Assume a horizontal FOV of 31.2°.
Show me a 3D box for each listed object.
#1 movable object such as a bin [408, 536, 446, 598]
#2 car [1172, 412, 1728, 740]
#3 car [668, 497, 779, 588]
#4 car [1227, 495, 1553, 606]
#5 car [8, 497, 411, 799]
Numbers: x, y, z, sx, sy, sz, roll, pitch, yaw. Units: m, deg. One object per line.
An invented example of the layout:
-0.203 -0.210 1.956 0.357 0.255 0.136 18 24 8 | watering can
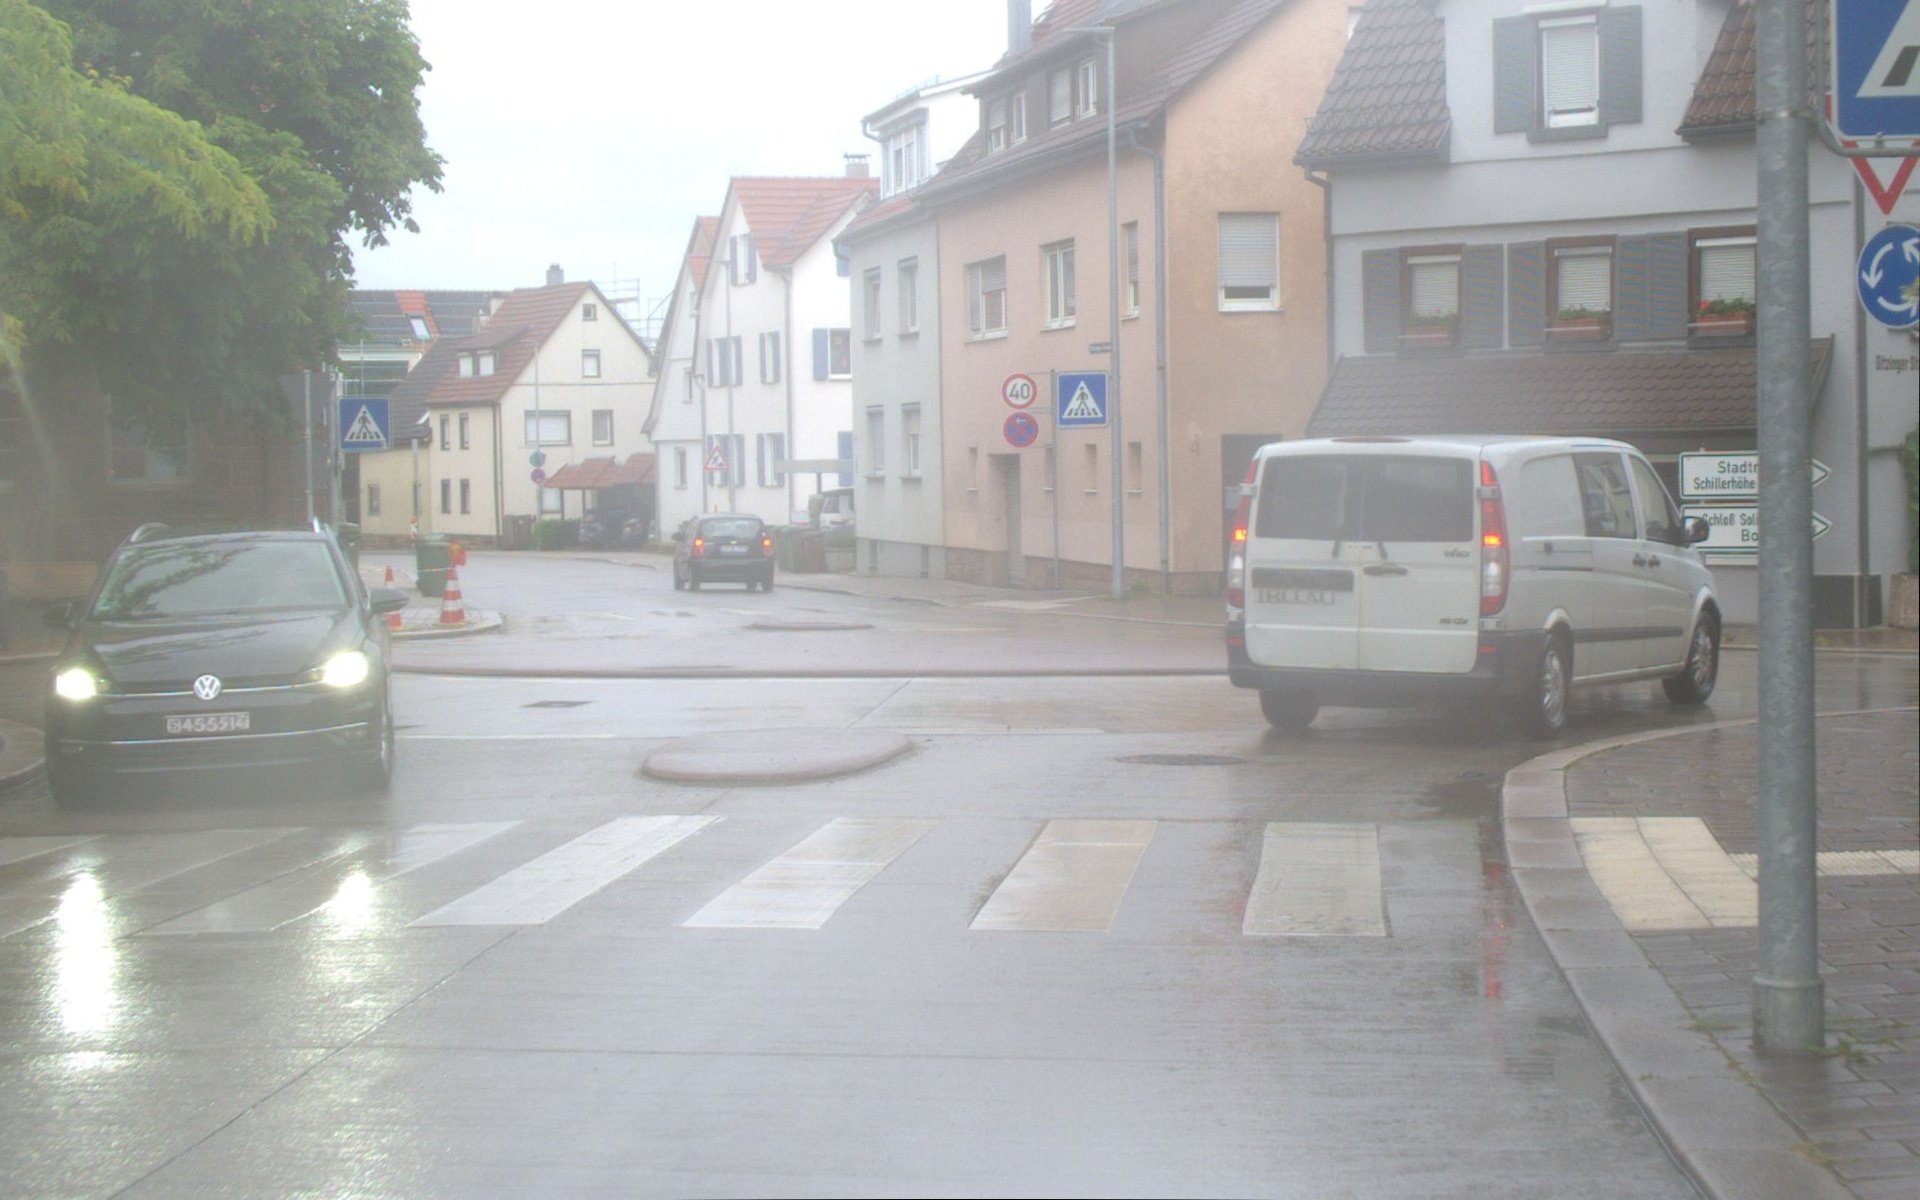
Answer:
-10.241 -0.635 66.060 0.626 1.169 0.762 0 1 -15 | movable object such as a bin
3.346 -0.165 22.511 2.156 1.892 4.918 0 1 27 | car
-4.478 -1.089 65.568 1.972 1.674 4.068 0 1 -2 | car
5.917 -0.689 47.420 3.986 1.481 2.001 -1 1 -17 | car
-4.201 0.178 19.867 1.786 1.502 4.470 -1 2 -6 | car
